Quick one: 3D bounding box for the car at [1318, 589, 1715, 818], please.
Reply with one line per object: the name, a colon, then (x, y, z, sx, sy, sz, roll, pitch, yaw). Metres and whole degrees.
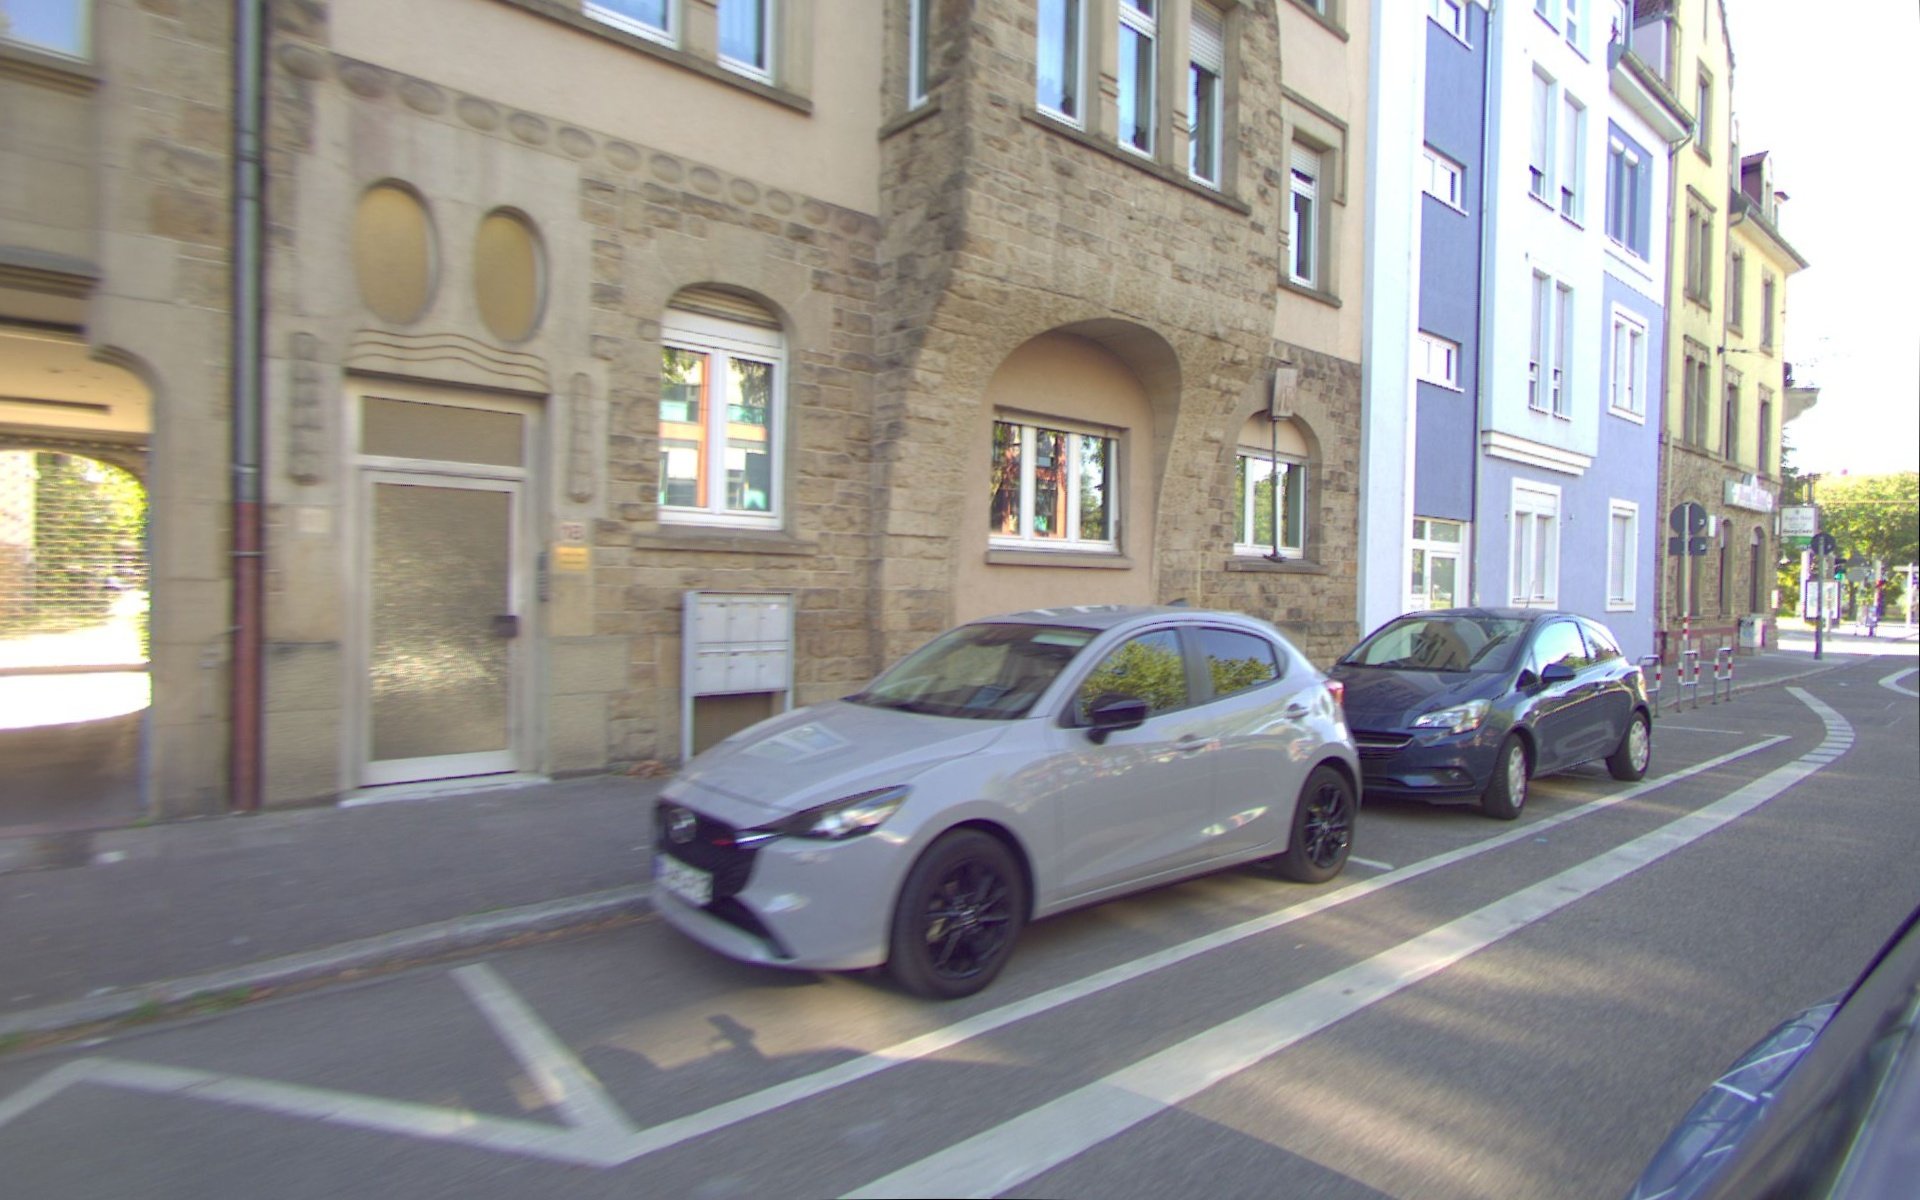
car: (4.833, 0.666, 8.565, 3.929, 1.501, 1.658, 0, 0, -40)

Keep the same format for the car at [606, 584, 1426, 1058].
car: (0.524, 0.711, 5.239, 4.119, 1.520, 1.757, 0, -1, -38)
